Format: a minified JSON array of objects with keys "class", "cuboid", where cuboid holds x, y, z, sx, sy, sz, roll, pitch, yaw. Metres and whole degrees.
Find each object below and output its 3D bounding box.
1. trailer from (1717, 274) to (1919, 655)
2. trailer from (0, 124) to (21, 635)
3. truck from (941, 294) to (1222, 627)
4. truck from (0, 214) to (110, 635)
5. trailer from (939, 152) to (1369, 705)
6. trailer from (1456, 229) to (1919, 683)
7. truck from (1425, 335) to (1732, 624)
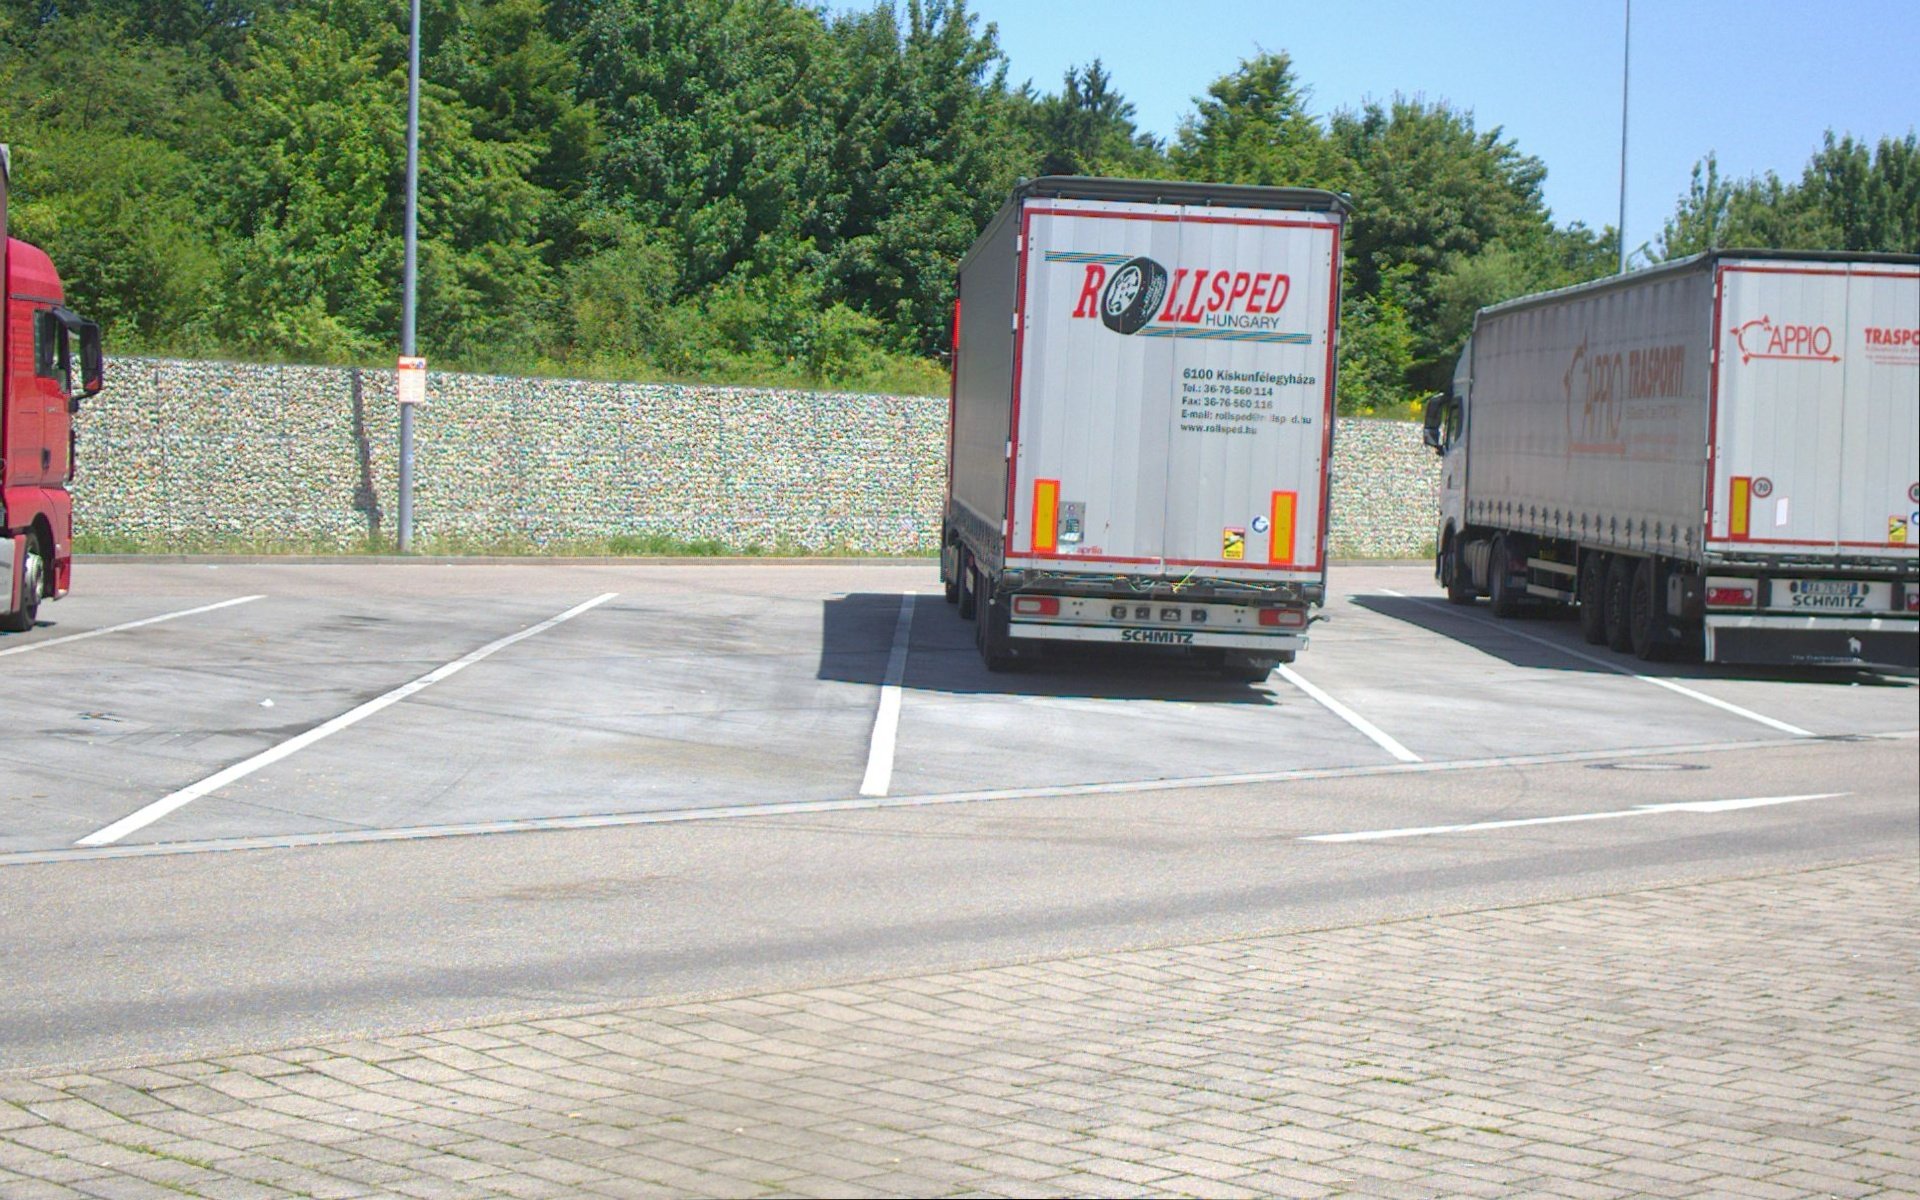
[{"class":"trailer","cuboid":[11.793,-1.522,39.444,2.838,4.118,13.724,2,3,-1]},{"class":"trailer","cuboid":[-9.144,-1.488,21.303,2.906,4.118,13.725,2,3,-1]},{"class":"truck","cuboid":[1.291,-1.624,39.813,2.852,3.472,5.483,2,2,-1]},{"class":"truck","cuboid":[-9.235,-1.504,28.741,2.852,3.416,5.483,2,2,-1]},{"class":"trailer","cuboid":[1.440,-1.617,33.200,2.906,4.118,13.725,2,3,-1]},{"class":"trailer","cuboid":[8.156,-1.620,38.691,2.838,4.118,13.724,2,3,-1]},{"class":"truck","cuboid":[8.062,-1.618,45.504,2.852,3.472,5.483,2,2,-1]}]
